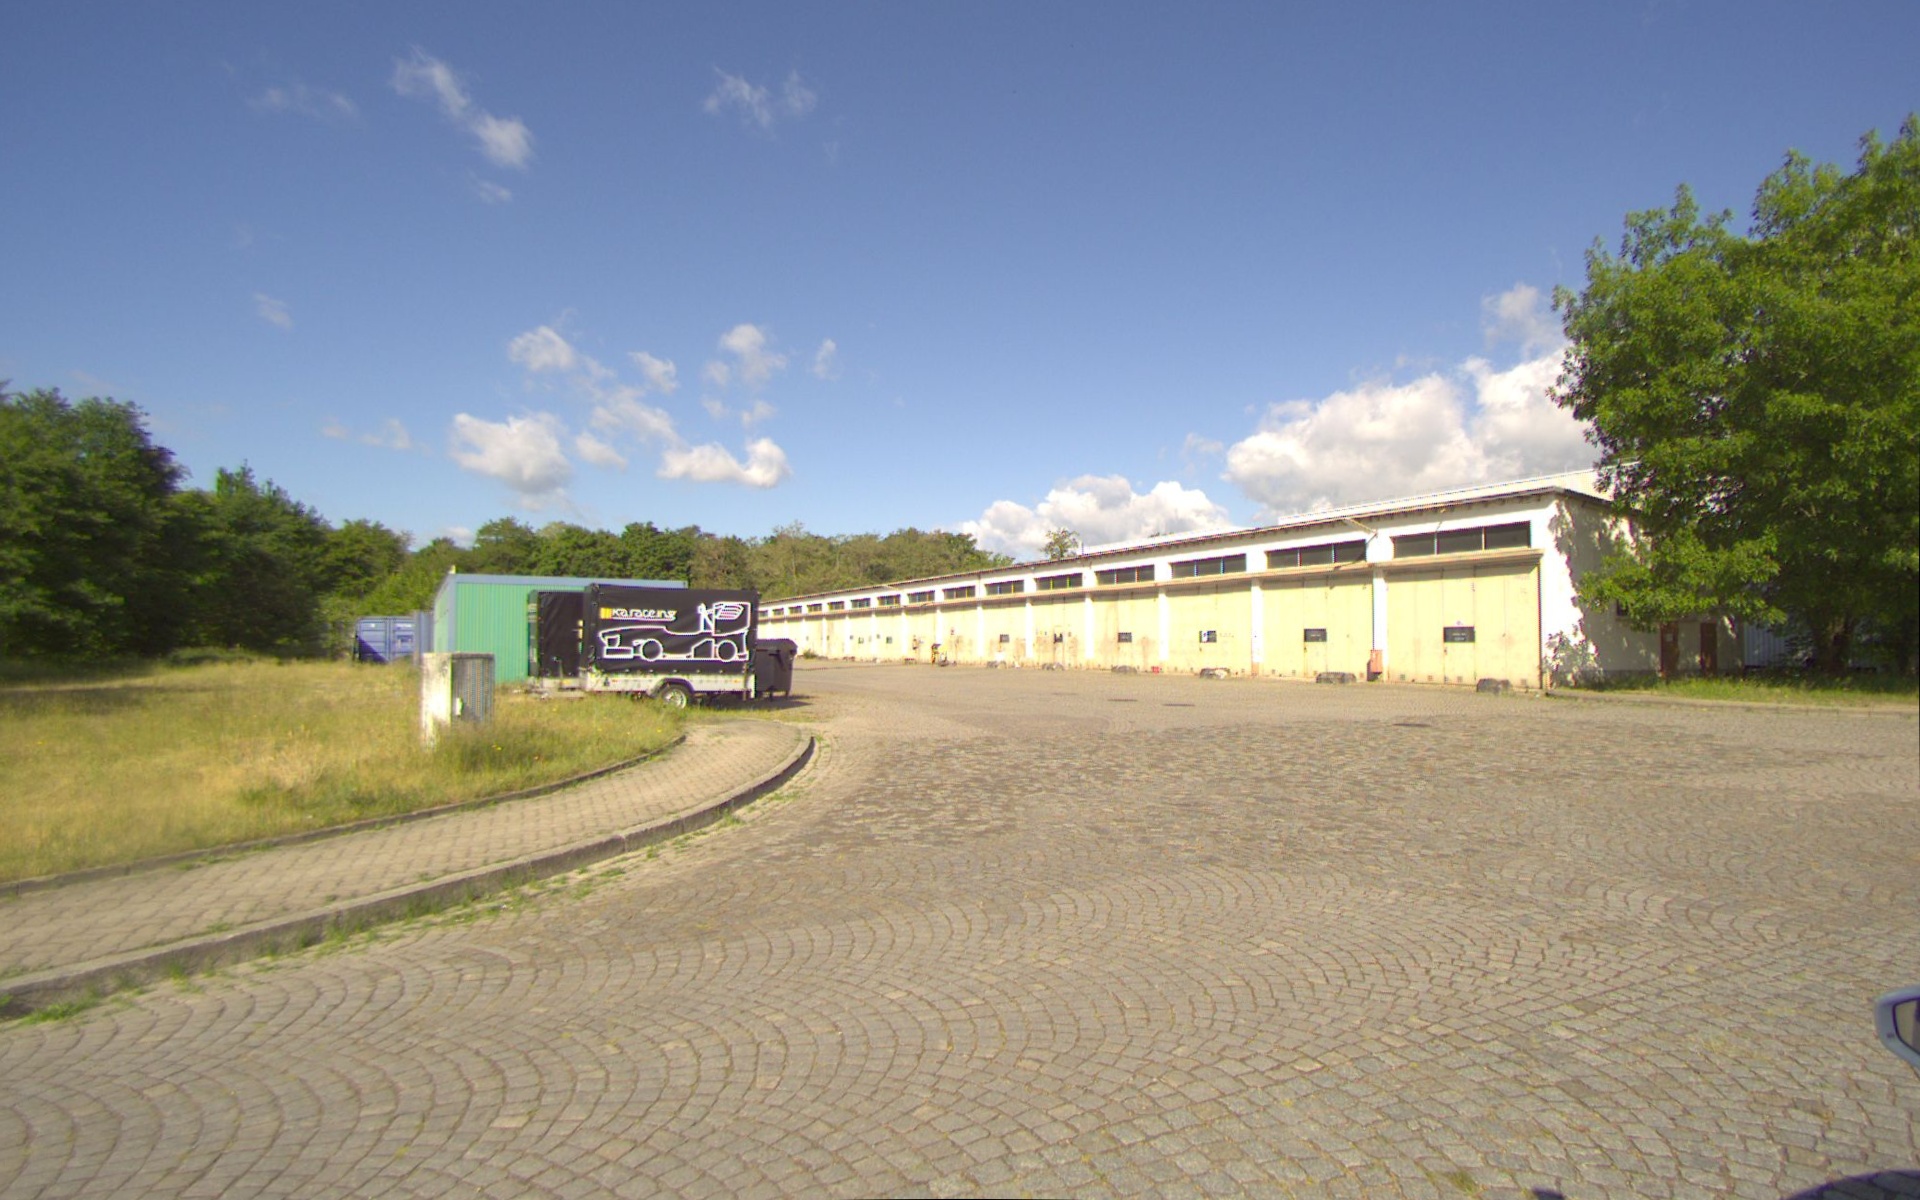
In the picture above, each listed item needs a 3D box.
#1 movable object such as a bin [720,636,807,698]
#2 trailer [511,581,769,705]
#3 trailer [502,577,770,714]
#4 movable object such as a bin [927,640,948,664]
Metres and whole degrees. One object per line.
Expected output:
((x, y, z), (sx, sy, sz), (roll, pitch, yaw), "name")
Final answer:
((-4.643, 1.565, 23.810), (1.505, 1.404, 1.386), (-1, -2, 19), "movable object such as a bin")
((-6.788, 0.919, 21.473), (4.917, 2.385, 2.079), (2, -3, -30), "trailer")
((-6.160, 0.870, 19.138), (4.608, 2.328, 2.124), (1, -3, -26), "trailer")
((-1.324, 3.098, 59.565), (0.866, 1.419, 1.094), (1, -2, -27), "movable object such as a bin")
